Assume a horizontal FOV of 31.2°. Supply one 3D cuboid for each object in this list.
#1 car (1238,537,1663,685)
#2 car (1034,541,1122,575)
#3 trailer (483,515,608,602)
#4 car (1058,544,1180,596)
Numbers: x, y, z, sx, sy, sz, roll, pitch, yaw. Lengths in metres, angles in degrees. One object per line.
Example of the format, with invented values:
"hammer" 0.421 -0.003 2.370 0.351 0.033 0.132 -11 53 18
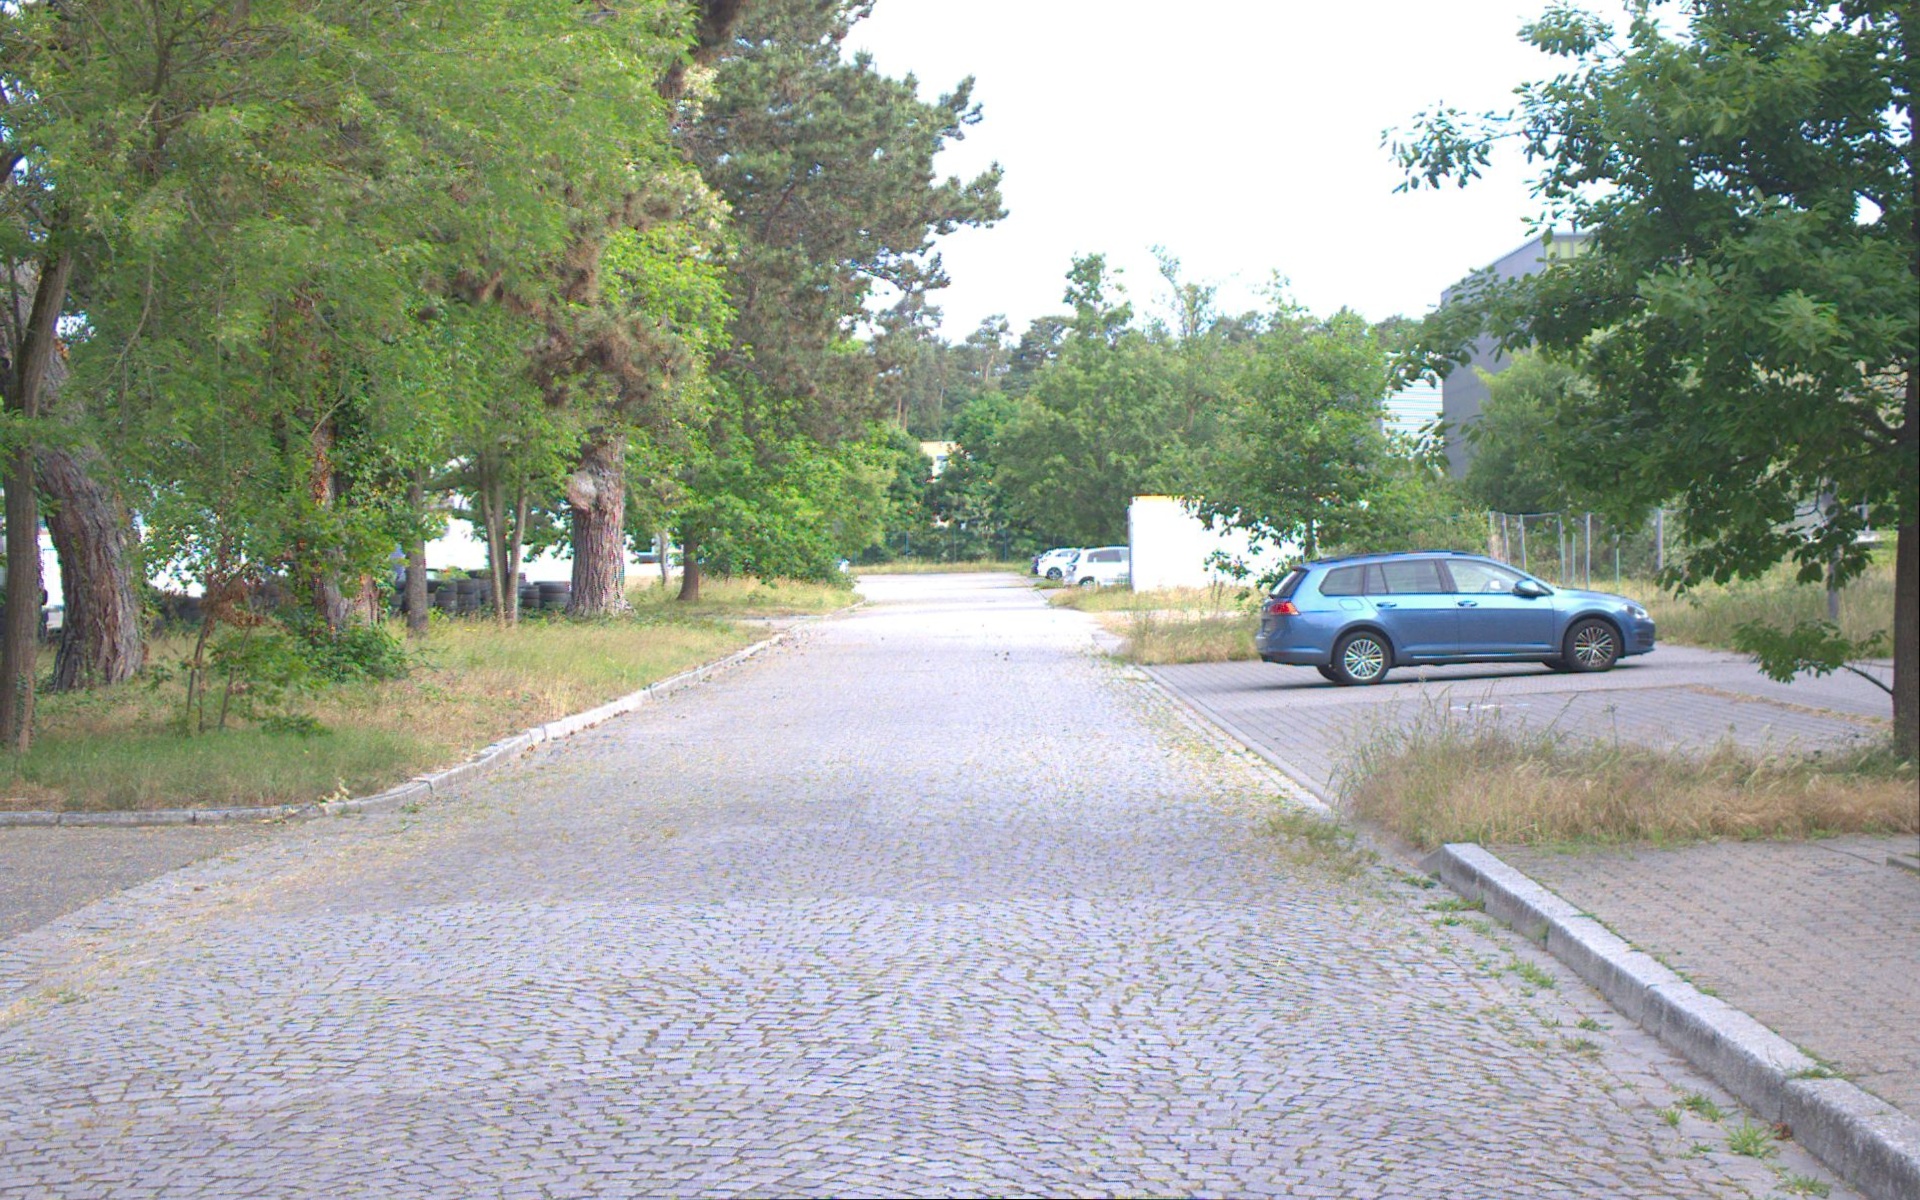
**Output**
"car" 5.608 0.109 39.657 4.521 1.438 1.824 -3 1 -3
"car" 5.460 -1.951 159.354 4.025 1.496 1.548 -1 1 1
"trailer" -15.122 -1.543 126.054 3.159 3.057 8.784 -1 1 2
"car" 5.218 -0.987 113.208 3.849 1.649 1.686 -1 1 -2
